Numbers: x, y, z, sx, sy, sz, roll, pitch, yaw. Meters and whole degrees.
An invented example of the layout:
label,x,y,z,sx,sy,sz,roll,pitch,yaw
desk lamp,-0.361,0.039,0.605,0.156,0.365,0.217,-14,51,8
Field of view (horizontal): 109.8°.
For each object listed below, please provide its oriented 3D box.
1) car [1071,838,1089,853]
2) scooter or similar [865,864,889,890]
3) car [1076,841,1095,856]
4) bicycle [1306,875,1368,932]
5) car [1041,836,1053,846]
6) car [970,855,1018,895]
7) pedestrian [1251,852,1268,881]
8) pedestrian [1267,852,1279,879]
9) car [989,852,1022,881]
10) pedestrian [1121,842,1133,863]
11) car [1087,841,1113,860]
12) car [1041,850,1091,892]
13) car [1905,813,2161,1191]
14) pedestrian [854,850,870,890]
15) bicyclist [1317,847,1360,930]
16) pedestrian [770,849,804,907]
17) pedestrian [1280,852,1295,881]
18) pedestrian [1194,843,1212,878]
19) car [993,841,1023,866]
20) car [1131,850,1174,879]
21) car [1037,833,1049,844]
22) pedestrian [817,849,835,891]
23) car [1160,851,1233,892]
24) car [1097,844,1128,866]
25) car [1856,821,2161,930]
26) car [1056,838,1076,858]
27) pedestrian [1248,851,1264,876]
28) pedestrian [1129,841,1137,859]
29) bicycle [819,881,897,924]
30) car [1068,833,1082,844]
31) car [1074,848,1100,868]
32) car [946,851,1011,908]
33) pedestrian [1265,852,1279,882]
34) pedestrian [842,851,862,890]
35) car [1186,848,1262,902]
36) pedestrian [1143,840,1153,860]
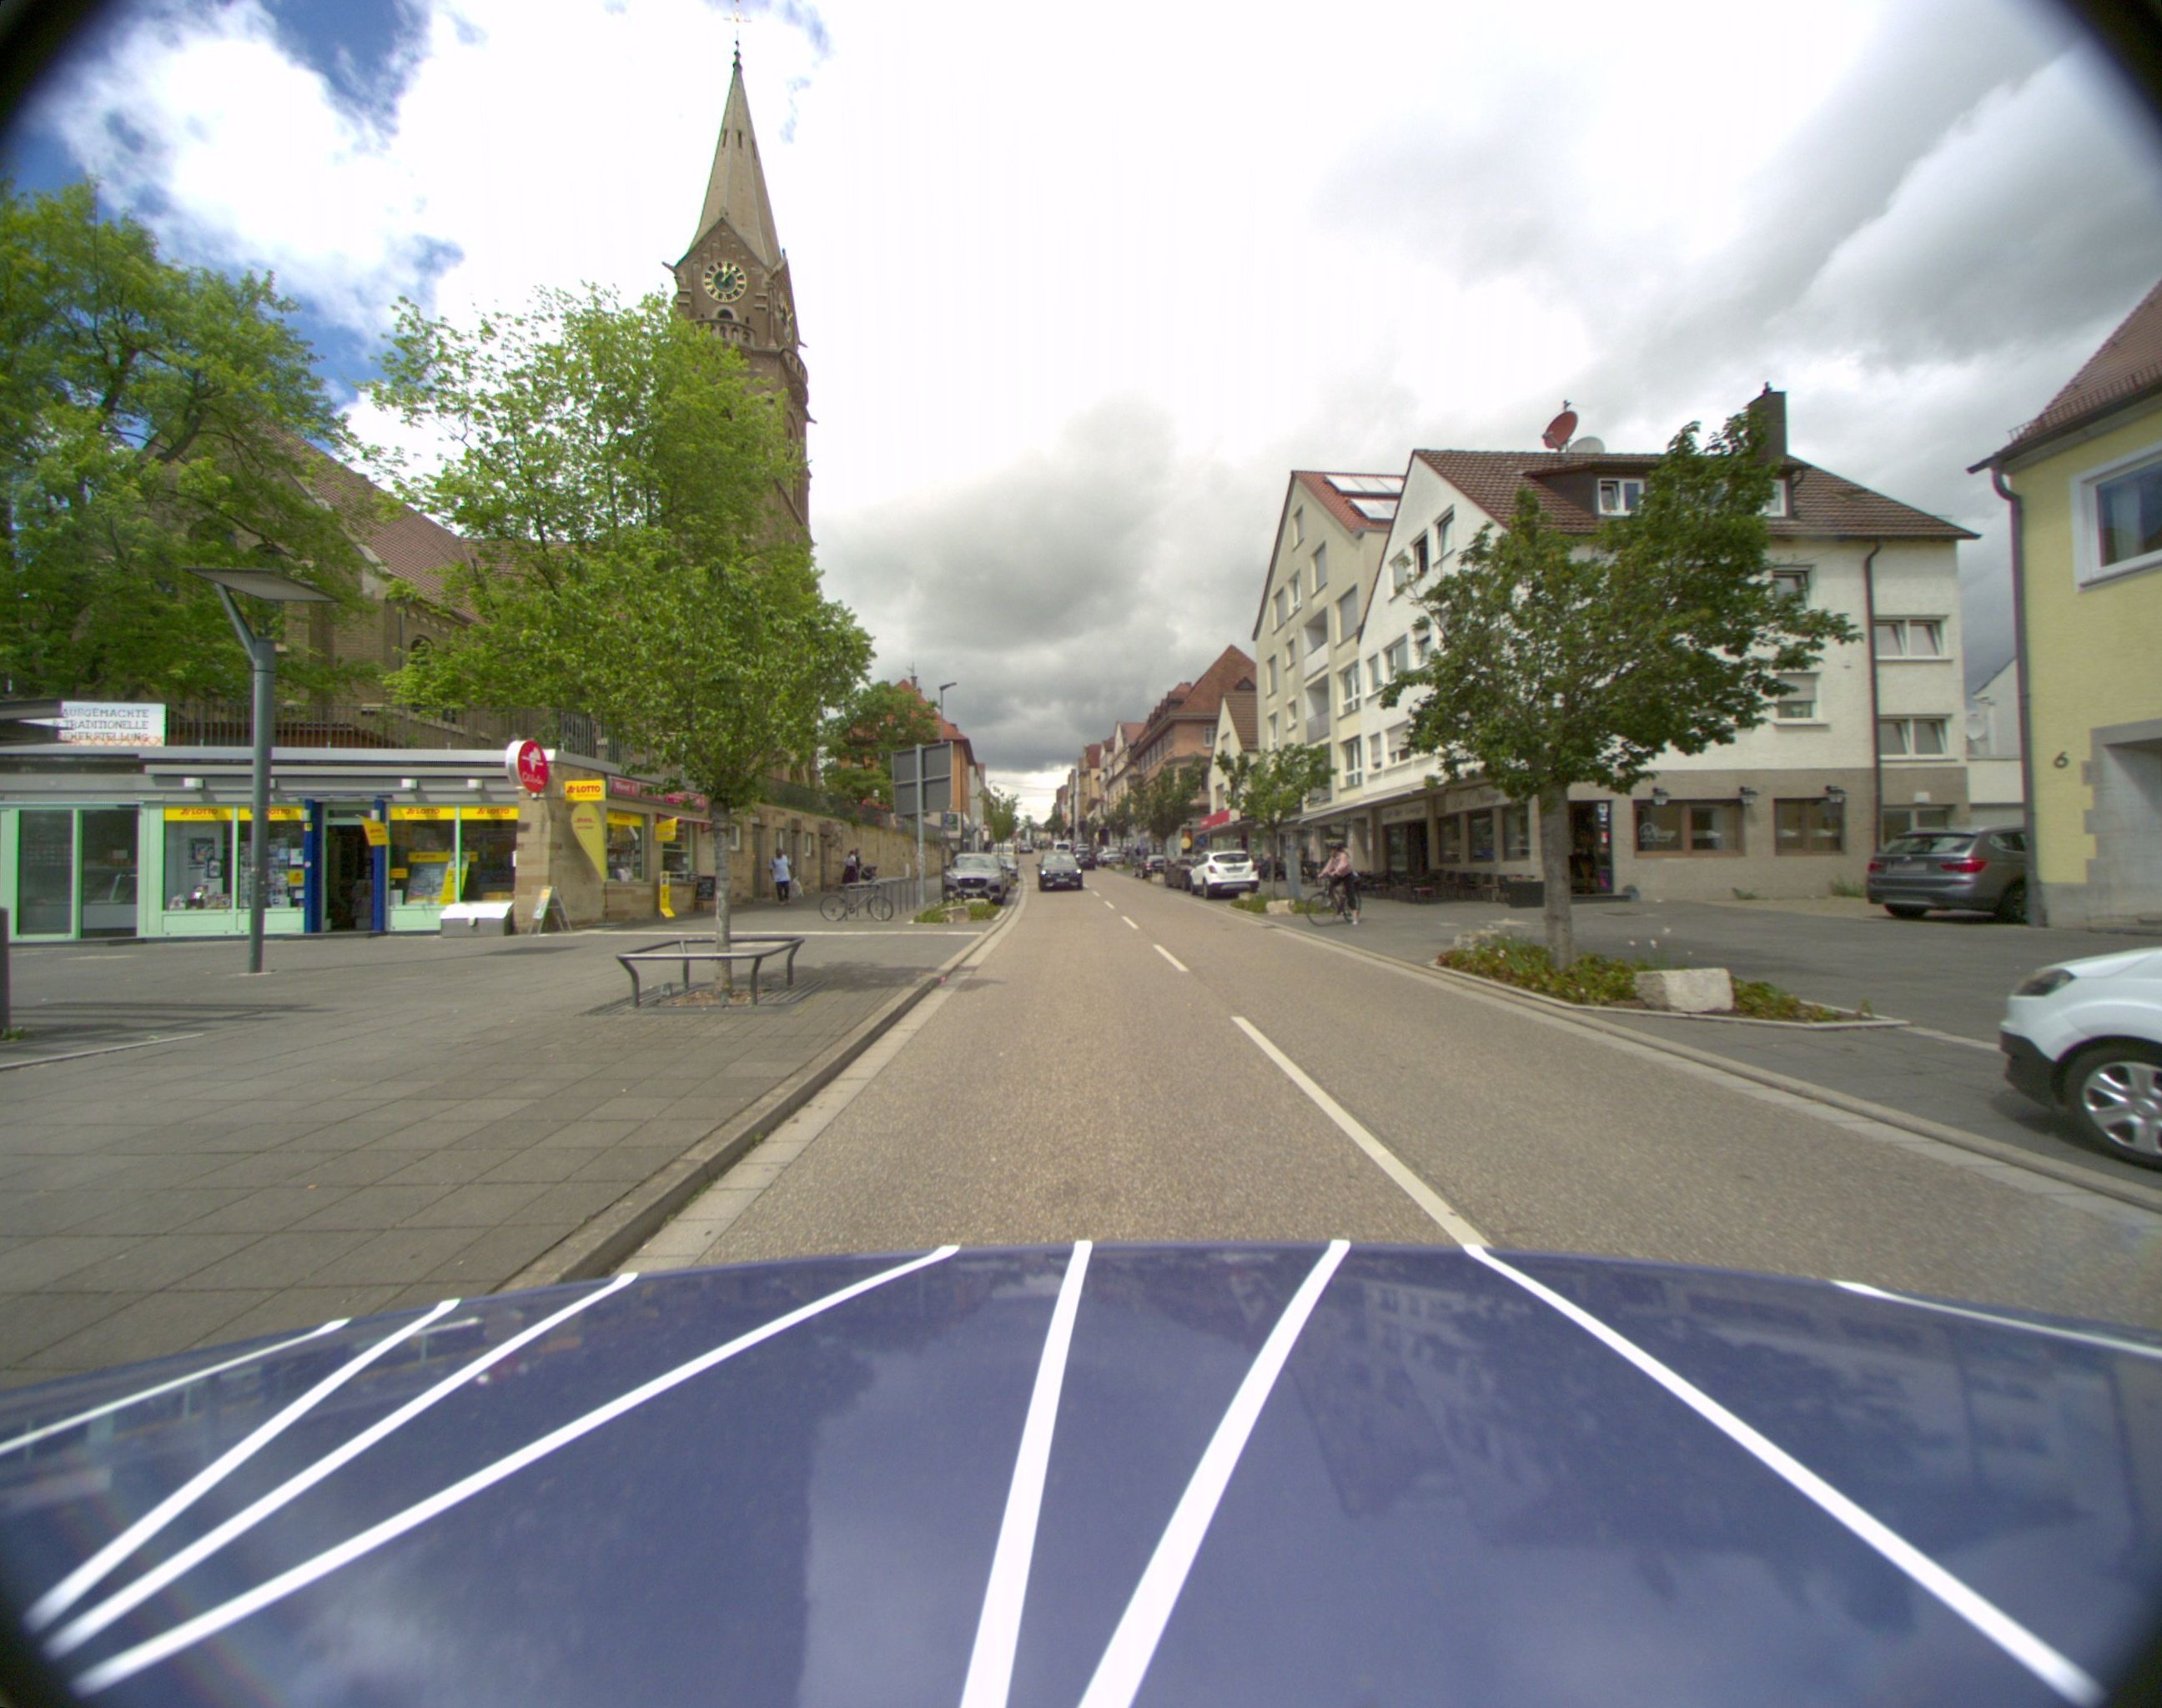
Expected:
label,x,y,z,sx,sy,sz,roll,pitch,yaw
car,-0.137,-1.003,86.584,1.732,1.670,3.989,-1,2,-5
scooter or similar,-8.453,0.941,31.506,0.813,1.066,0.560,0,2,7
car,0.448,-0.580,79.579,1.732,1.423,3.500,-1,2,-5
bicycle,5.356,1.008,15.868,1.657,1.081,0.412,-1,1,-39
car,-5.279,-2.041,117.572,1.687,1.492,4.150,0,2,-5
car,-3.585,0.830,32.076,1.685,1.409,4.368,-1,2,-2
pedestrian,8.225,0.568,35.014,0.551,1.260,0.598,-2,2,-4
pedestrian,8.860,0.519,35.050,0.396,1.242,0.499,-2,1,-4
car,-4.220,0.649,42.383,1.760,1.433,4.085,0,2,-6
pedestrian,3.782,-0.148,62.442,0.873,1.657,0.906,-2,2,-7
car,1.666,-0.339,67.049,1.669,1.518,3.960,-3,2,-6
car,-0.714,0.693,33.099,1.895,1.516,3.732,-3,2,-5
car,5.623,0.625,2.180,1.661,1.662,4.349,-2,0,-3
pedestrian,-9.086,0.659,31.538,0.474,1.636,0.507,0,2,7
bicyclist,5.383,0.695,15.885,0.779,1.685,0.508,0,1,-38
pedestrian,-8.949,0.722,23.114,0.596,1.720,0.764,2,1,44
pedestrian,9.124,0.551,33.592,0.428,1.242,0.566,-2,1,-4
pedestrian,6.295,0.337,39.180,0.662,1.751,0.777,-2,2,-8
car,-5.758,-0.058,60.230,1.890,1.837,5.028,0,2,0
car,3.931,0.526,42.455,1.661,1.384,4.441,-1,2,-4
car,-6.604,-2.691,131.085,1.831,1.680,3.856,0,2,-6
pedestrian,-9.992,0.631,29.828,0.474,1.636,0.507,0,2,7
car,4.727,0.664,31.875,1.845,1.443,4.511,-3,1,-7
car,2.412,0.059,59.240,1.730,1.565,4.451,-2,2,-7
car,15.941,0.345,13.070,3.538,1.641,1.732,-2,0,-3
car,-1.428,-0.632,71.134,1.751,1.792,4.209,1,1,-4
pedestrian,8.790,0.479,38.111,0.597,1.239,0.598,-2,2,-4
pedestrian,4.123,-0.313,60.531,0.497,1.469,0.528,-2,2,-7
bicycle,-5.289,1.150,18.064,1.732,0.990,0.345,0,1,-8
car,-0.860,-2.188,106.248,1.691,1.516,3.526,-1,2,-5
car,0.380,0.244,54.618,1.611,1.380,3.627,0,1,-3
car,-3.343,0.785,25.490,1.934,1.714,4.571,0,1,-5
pedestrian,8.418,0.561,33.517,0.422,1.292,0.454,-2,1,-4
pedestrian,-9.162,0.651,30.421,0.590,1.515,0.584,0,1,0
car,4.904,0.658,26.558,1.670,1.637,4.132,-3,1,-2
pedestrian,5.330,-0.298,60.440,0.615,1.573,0.641,-2,2,-7
